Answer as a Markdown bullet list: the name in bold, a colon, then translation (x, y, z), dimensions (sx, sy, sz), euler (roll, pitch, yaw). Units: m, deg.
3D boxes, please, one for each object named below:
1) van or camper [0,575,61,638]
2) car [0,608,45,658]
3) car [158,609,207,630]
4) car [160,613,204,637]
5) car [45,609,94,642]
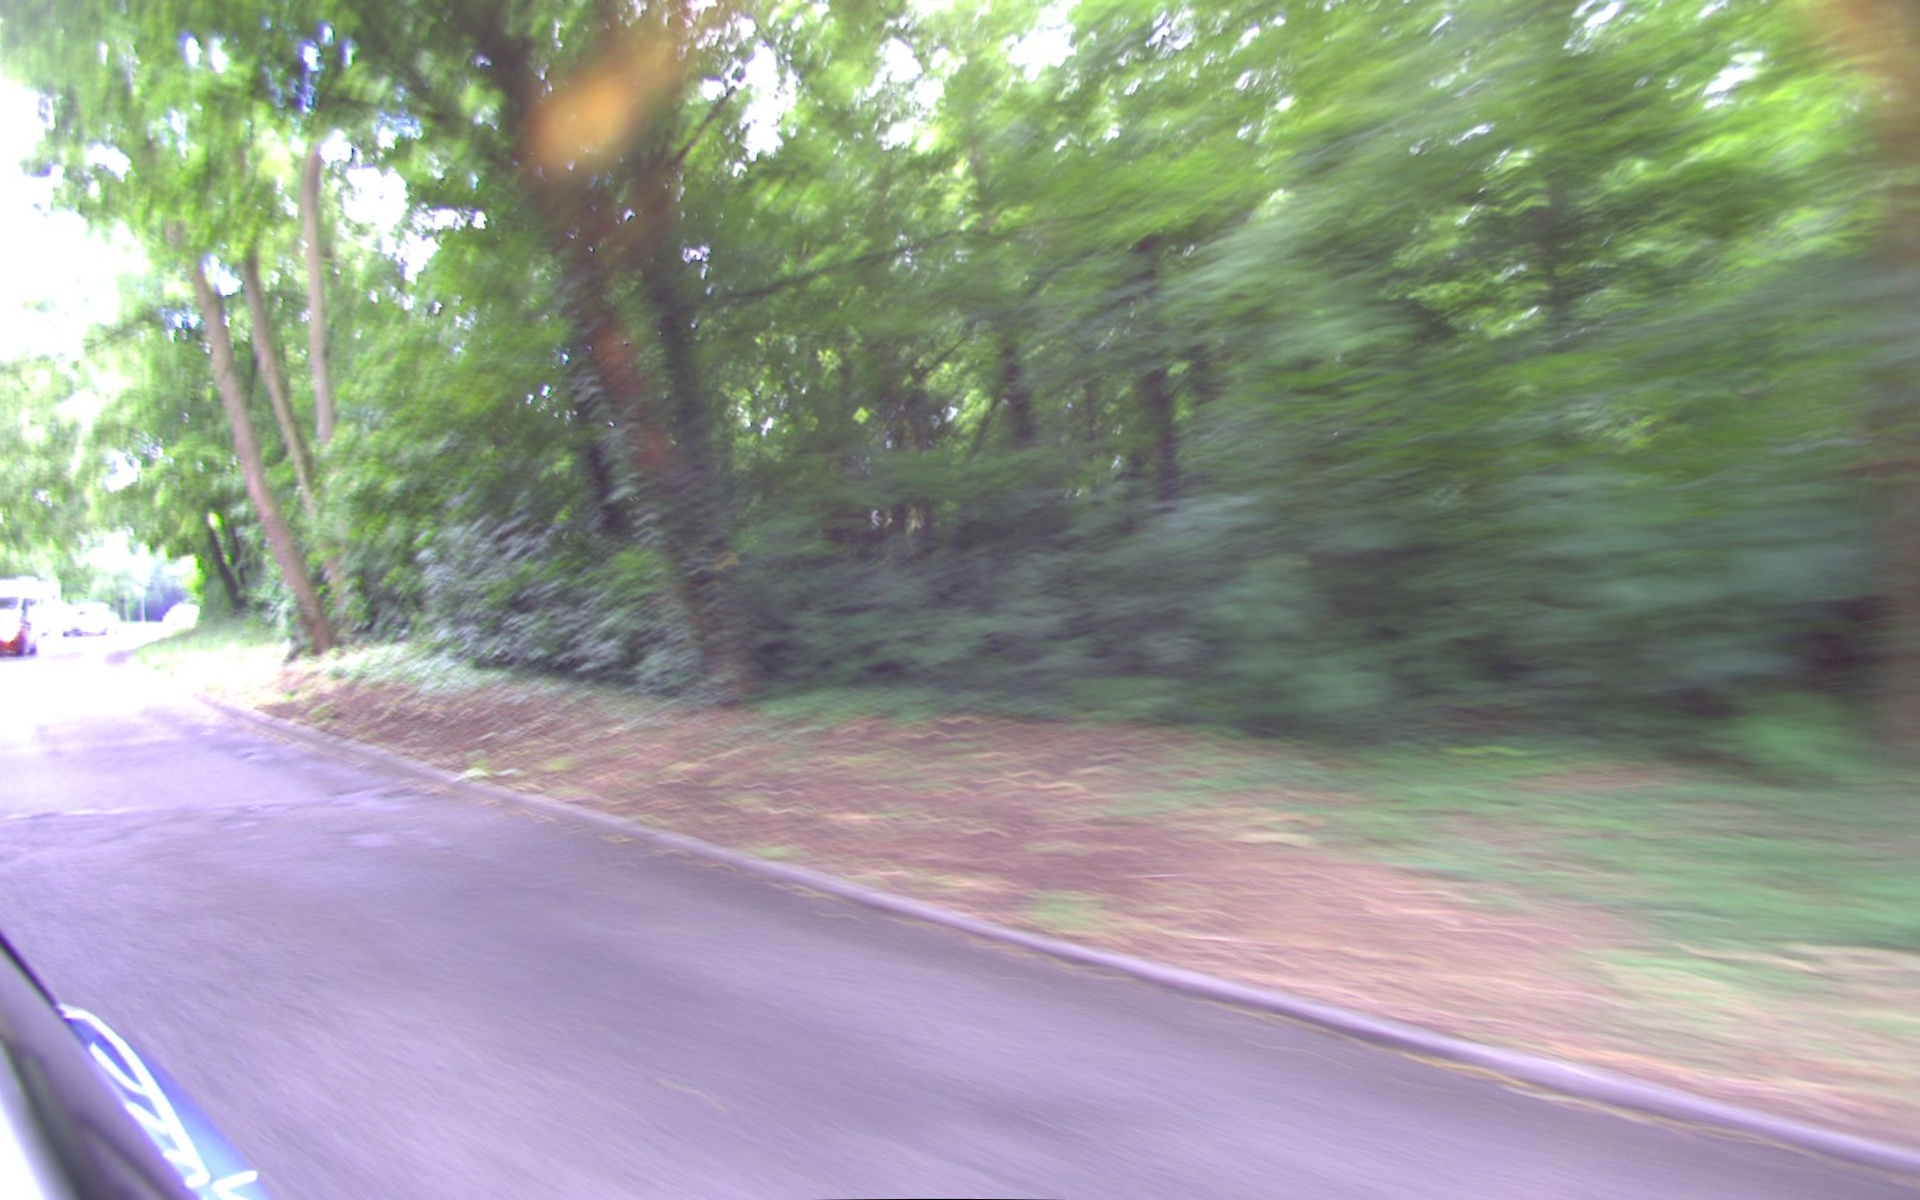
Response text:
- **van or camper**: translation (-48.475, 0.353, 51.574), dimensions (2.391, 3.002, 7.416), euler (-1, 0, -29)
- **car**: translation (-30.461, 1.013, 31.867), dimensions (1.927, 1.483, 4.688), euler (-1, 0, -36)
- **car**: translation (-61.274, 1.504, 79.870), dimensions (1.686, 1.563, 4.692), euler (-1, 0, -20)
- **car**: translation (-54.861, 1.717, 71.407), dimensions (1.739, 1.580, 4.059), euler (-1, 0, -27)
- **car**: translation (-45.158, 1.283, 51.320), dimensions (1.631, 1.580, 4.048), euler (-2, 0, -44)
